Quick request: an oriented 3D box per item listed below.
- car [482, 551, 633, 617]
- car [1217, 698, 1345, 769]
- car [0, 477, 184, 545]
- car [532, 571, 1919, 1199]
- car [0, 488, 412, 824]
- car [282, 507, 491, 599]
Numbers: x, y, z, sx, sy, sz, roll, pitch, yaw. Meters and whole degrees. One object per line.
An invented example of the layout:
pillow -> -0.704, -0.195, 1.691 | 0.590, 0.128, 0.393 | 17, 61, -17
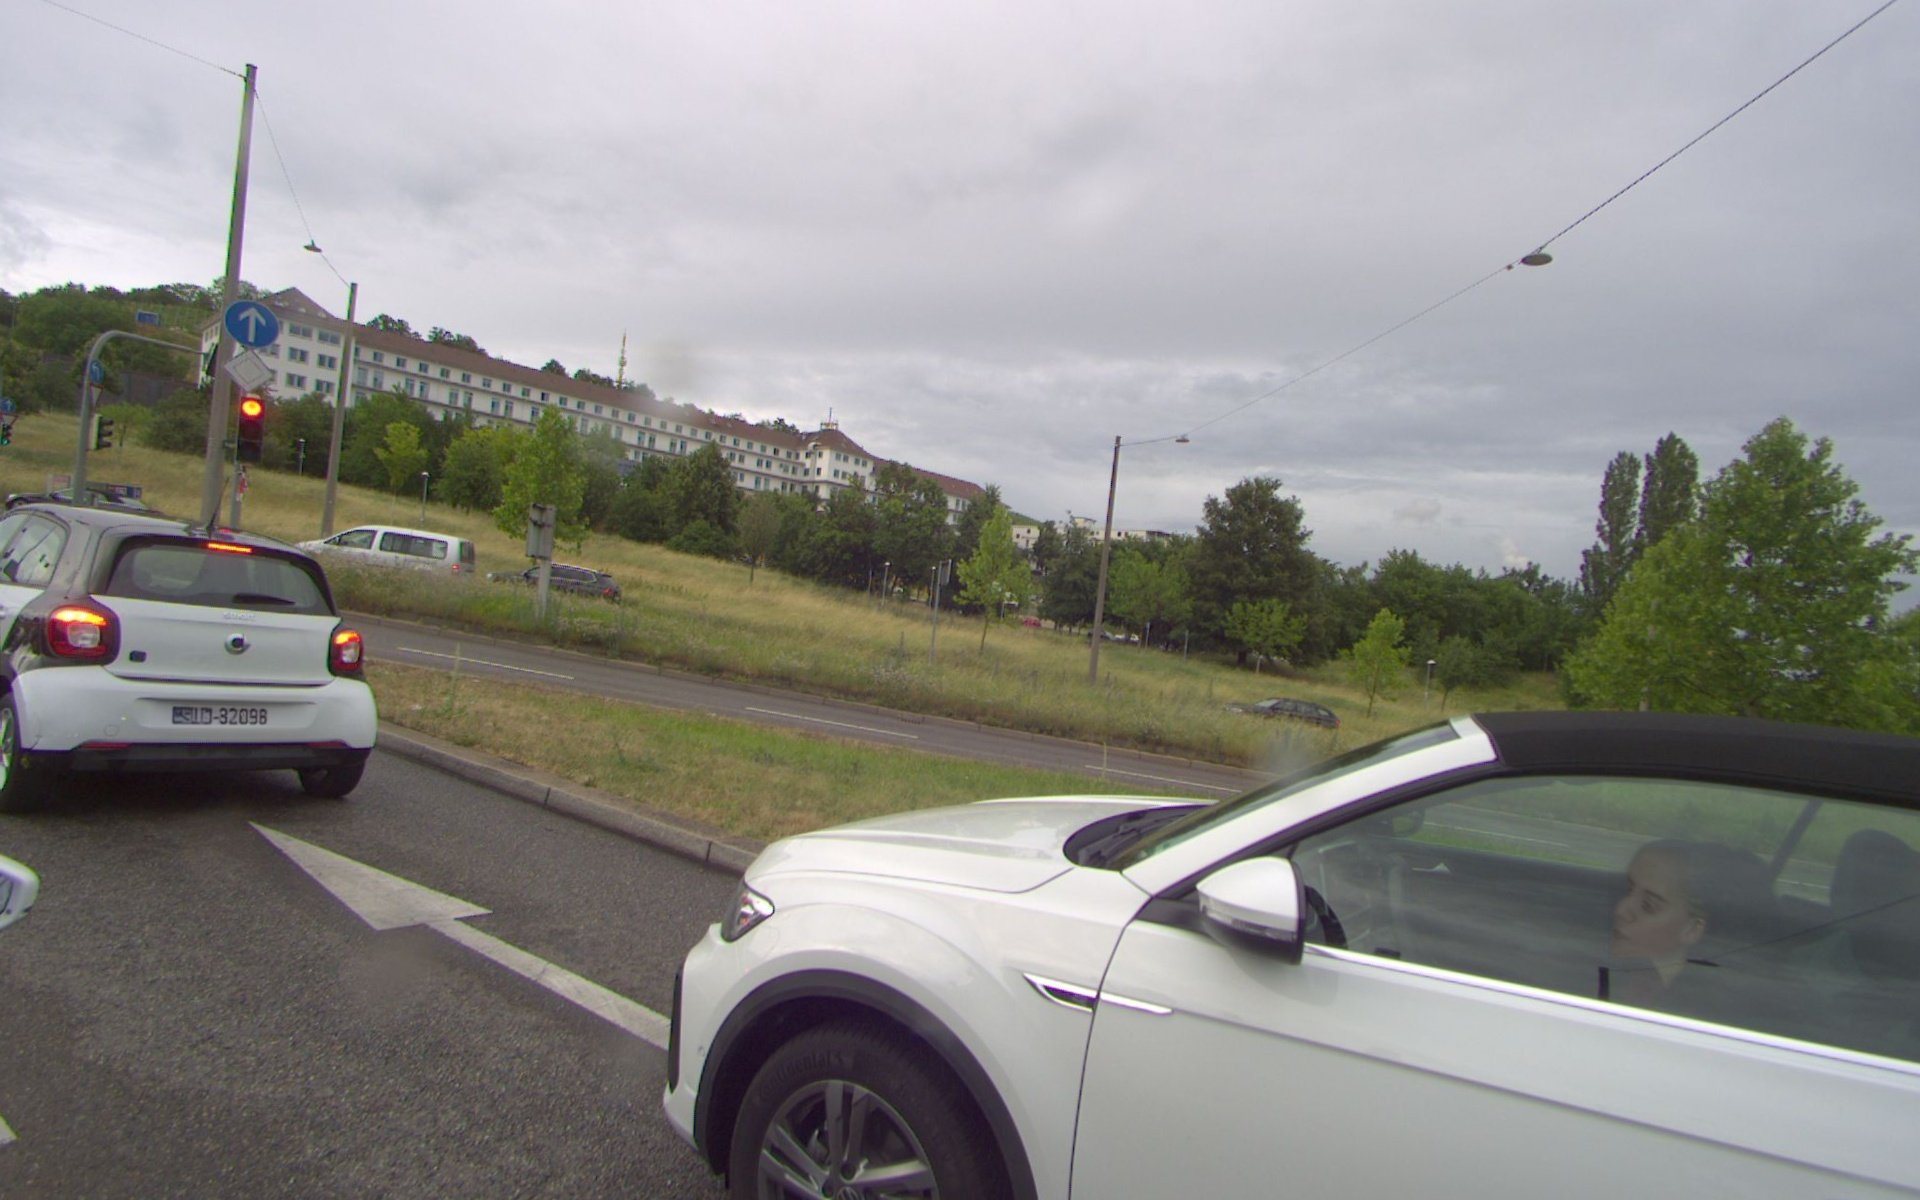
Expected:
car -> -13.967, -0.526, 35.165 | 4.342, 1.655, 2.000 | 7, -2, -5
car -> 12.023, 5.000, 37.809 | 3.932, 2.037, 1.998 | 7, -2, -8
car -> -29.674, -3.023, 34.465 | 4.422, 1.494, 2.000 | 7, -2, -4
car -> 1.311, 0.986, 2.074 | 4.156, 1.571, 1.718 | 6, -2, 28
car -> -5.150, 0.212, 6.236 | 3.398, 1.520, 1.659 | 6, -2, 36
car -> -16.166, -1.275, 28.586 | 4.619, 1.871, 1.820 | 8, -2, -9
